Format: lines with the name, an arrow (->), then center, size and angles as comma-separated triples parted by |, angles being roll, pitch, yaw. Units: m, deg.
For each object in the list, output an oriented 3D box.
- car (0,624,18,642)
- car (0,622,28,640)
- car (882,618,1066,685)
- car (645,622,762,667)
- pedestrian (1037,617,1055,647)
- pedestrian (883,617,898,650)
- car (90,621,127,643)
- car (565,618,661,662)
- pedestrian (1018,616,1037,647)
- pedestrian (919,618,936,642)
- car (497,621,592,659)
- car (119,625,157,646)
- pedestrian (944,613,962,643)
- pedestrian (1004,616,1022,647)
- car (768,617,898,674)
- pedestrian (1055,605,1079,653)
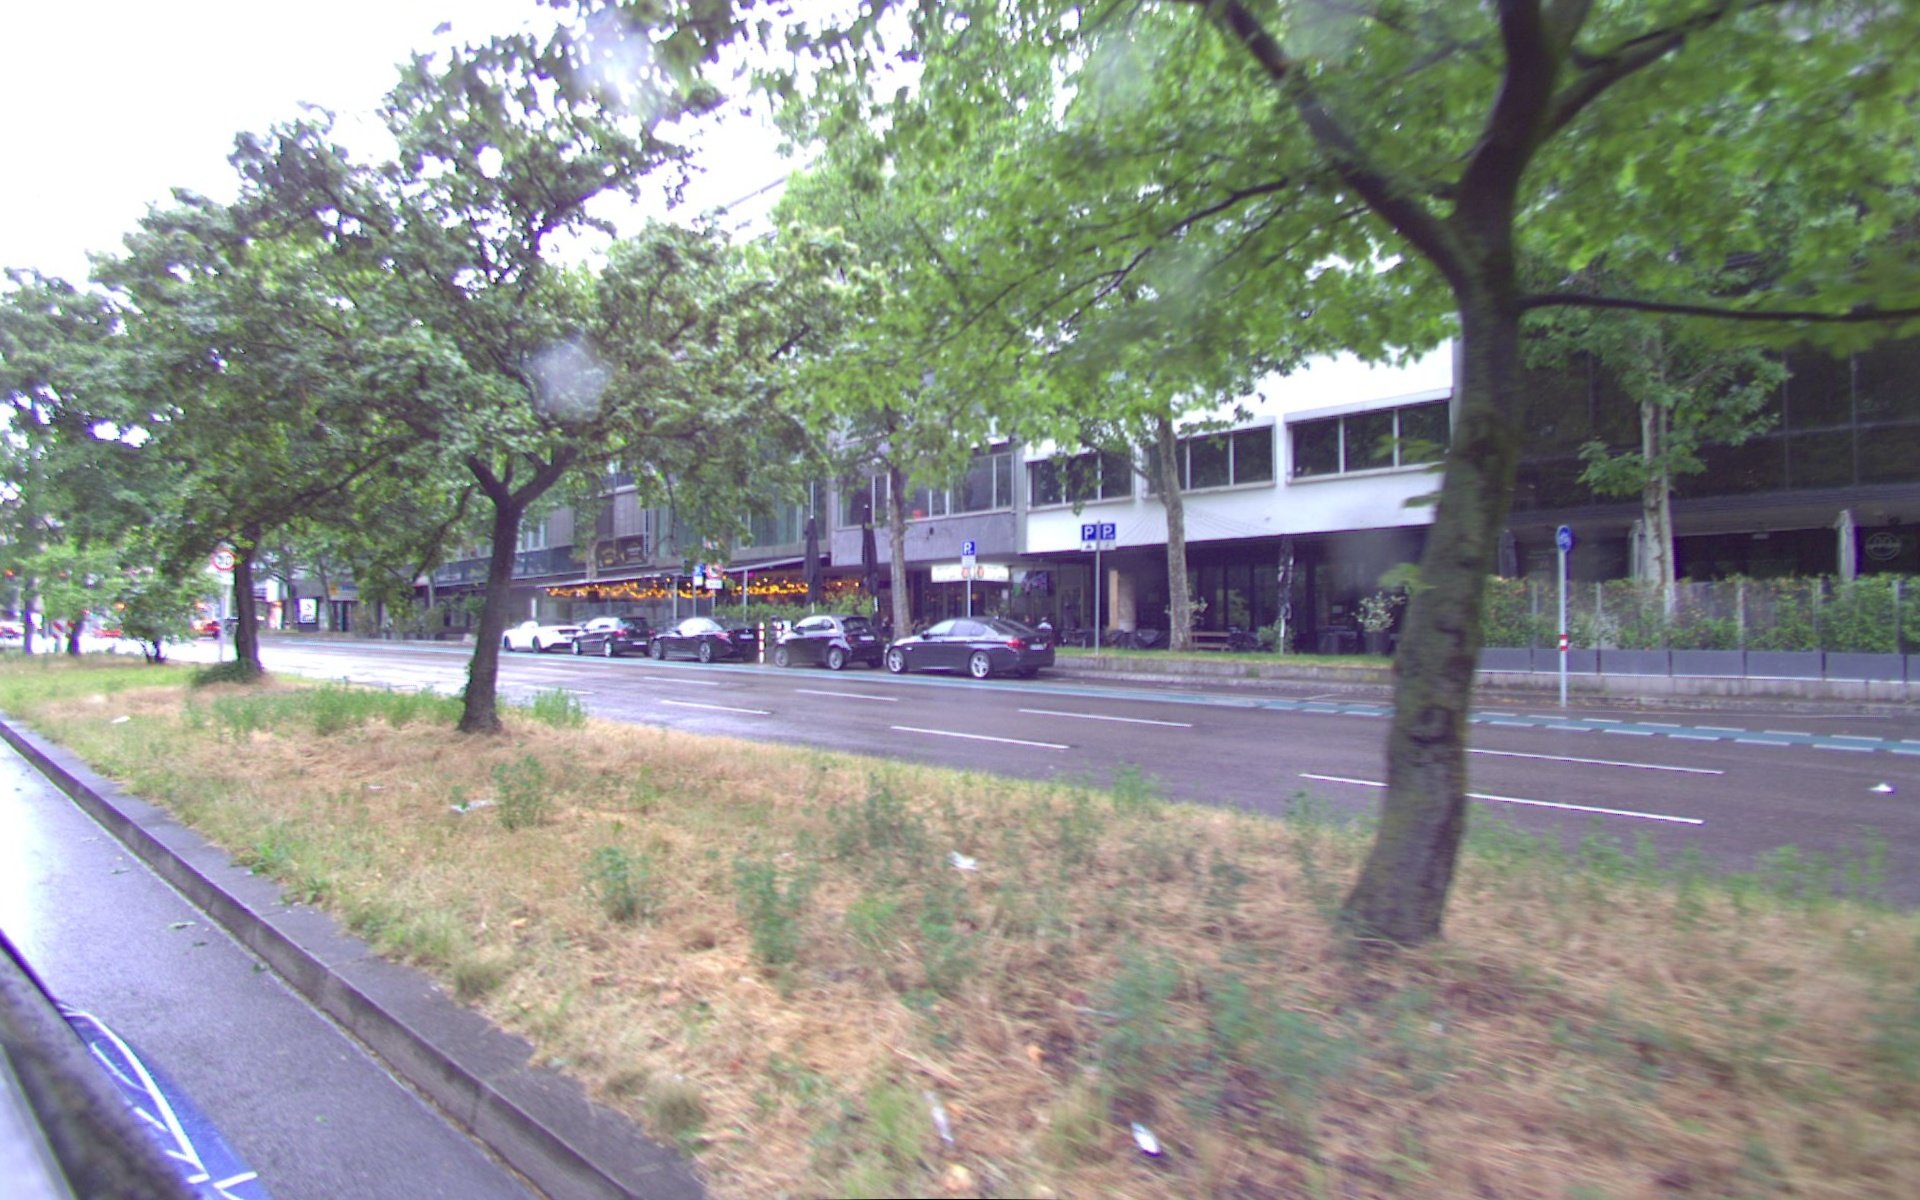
car -> -78.955, 2.736, 83.232 | 3.524, 1.400, 1.657 | 0, 0, 39
car -> -102.802, 3.356, 109.843 | 3.997, 1.829, 1.973 | 0, 0, 41
car -> 0.263, 1.198, 24.889 | 1.849, 1.396, 4.539 | -1, 0, -45
car -> -8.303, 1.396, 32.554 | 4.319, 1.249, 1.625 | 0, 0, 43
pedestrian -> 2.822, 1.046, 33.066 | 0.451, 0.970, 0.454 | 0, 0, 26
pedestrian -> -2.565, 1.231, 37.542 | 0.459, 1.195, 0.447 | 0, 0, -17
car -> -73.837, 2.764, 87.739 | 3.954, 1.799, 1.913 | 0, 0, 42
car -> -12.644, 1.415, 36.810 | 3.788, 1.464, 1.727 | 0, 0, 42
pedestrian -> 2.218, 1.035, 33.341 | 0.488, 1.008, 0.481 | 0, 0, 26
pedestrian -> -1.164, 1.070, 36.604 | 0.433, 0.856, 0.435 | 0, 0, 39
car -> -16.693, 1.573, 40.544 | 4.392, 1.336, 1.856 | 0, 0, 42
car -> -65.898, 2.828, 81.124 | 3.727, 1.586, 1.758 | 0, 0, 41
pedestrian -> -0.247, 0.990, 35.575 | 0.423, 1.024, 0.459 | 0, 0, 39
pedestrian -> 1.776, 1.034, 33.643 | 0.461, 1.000, 0.455 | 0, 0, 26
car -> -3.598, 1.225, 28.407 | 3.400, 1.433, 1.851 | 0, 0, 42
pedestrian -> 3.765, 1.017, 35.552 | 0.623, 1.660, 0.598 | 0, 0, 37
